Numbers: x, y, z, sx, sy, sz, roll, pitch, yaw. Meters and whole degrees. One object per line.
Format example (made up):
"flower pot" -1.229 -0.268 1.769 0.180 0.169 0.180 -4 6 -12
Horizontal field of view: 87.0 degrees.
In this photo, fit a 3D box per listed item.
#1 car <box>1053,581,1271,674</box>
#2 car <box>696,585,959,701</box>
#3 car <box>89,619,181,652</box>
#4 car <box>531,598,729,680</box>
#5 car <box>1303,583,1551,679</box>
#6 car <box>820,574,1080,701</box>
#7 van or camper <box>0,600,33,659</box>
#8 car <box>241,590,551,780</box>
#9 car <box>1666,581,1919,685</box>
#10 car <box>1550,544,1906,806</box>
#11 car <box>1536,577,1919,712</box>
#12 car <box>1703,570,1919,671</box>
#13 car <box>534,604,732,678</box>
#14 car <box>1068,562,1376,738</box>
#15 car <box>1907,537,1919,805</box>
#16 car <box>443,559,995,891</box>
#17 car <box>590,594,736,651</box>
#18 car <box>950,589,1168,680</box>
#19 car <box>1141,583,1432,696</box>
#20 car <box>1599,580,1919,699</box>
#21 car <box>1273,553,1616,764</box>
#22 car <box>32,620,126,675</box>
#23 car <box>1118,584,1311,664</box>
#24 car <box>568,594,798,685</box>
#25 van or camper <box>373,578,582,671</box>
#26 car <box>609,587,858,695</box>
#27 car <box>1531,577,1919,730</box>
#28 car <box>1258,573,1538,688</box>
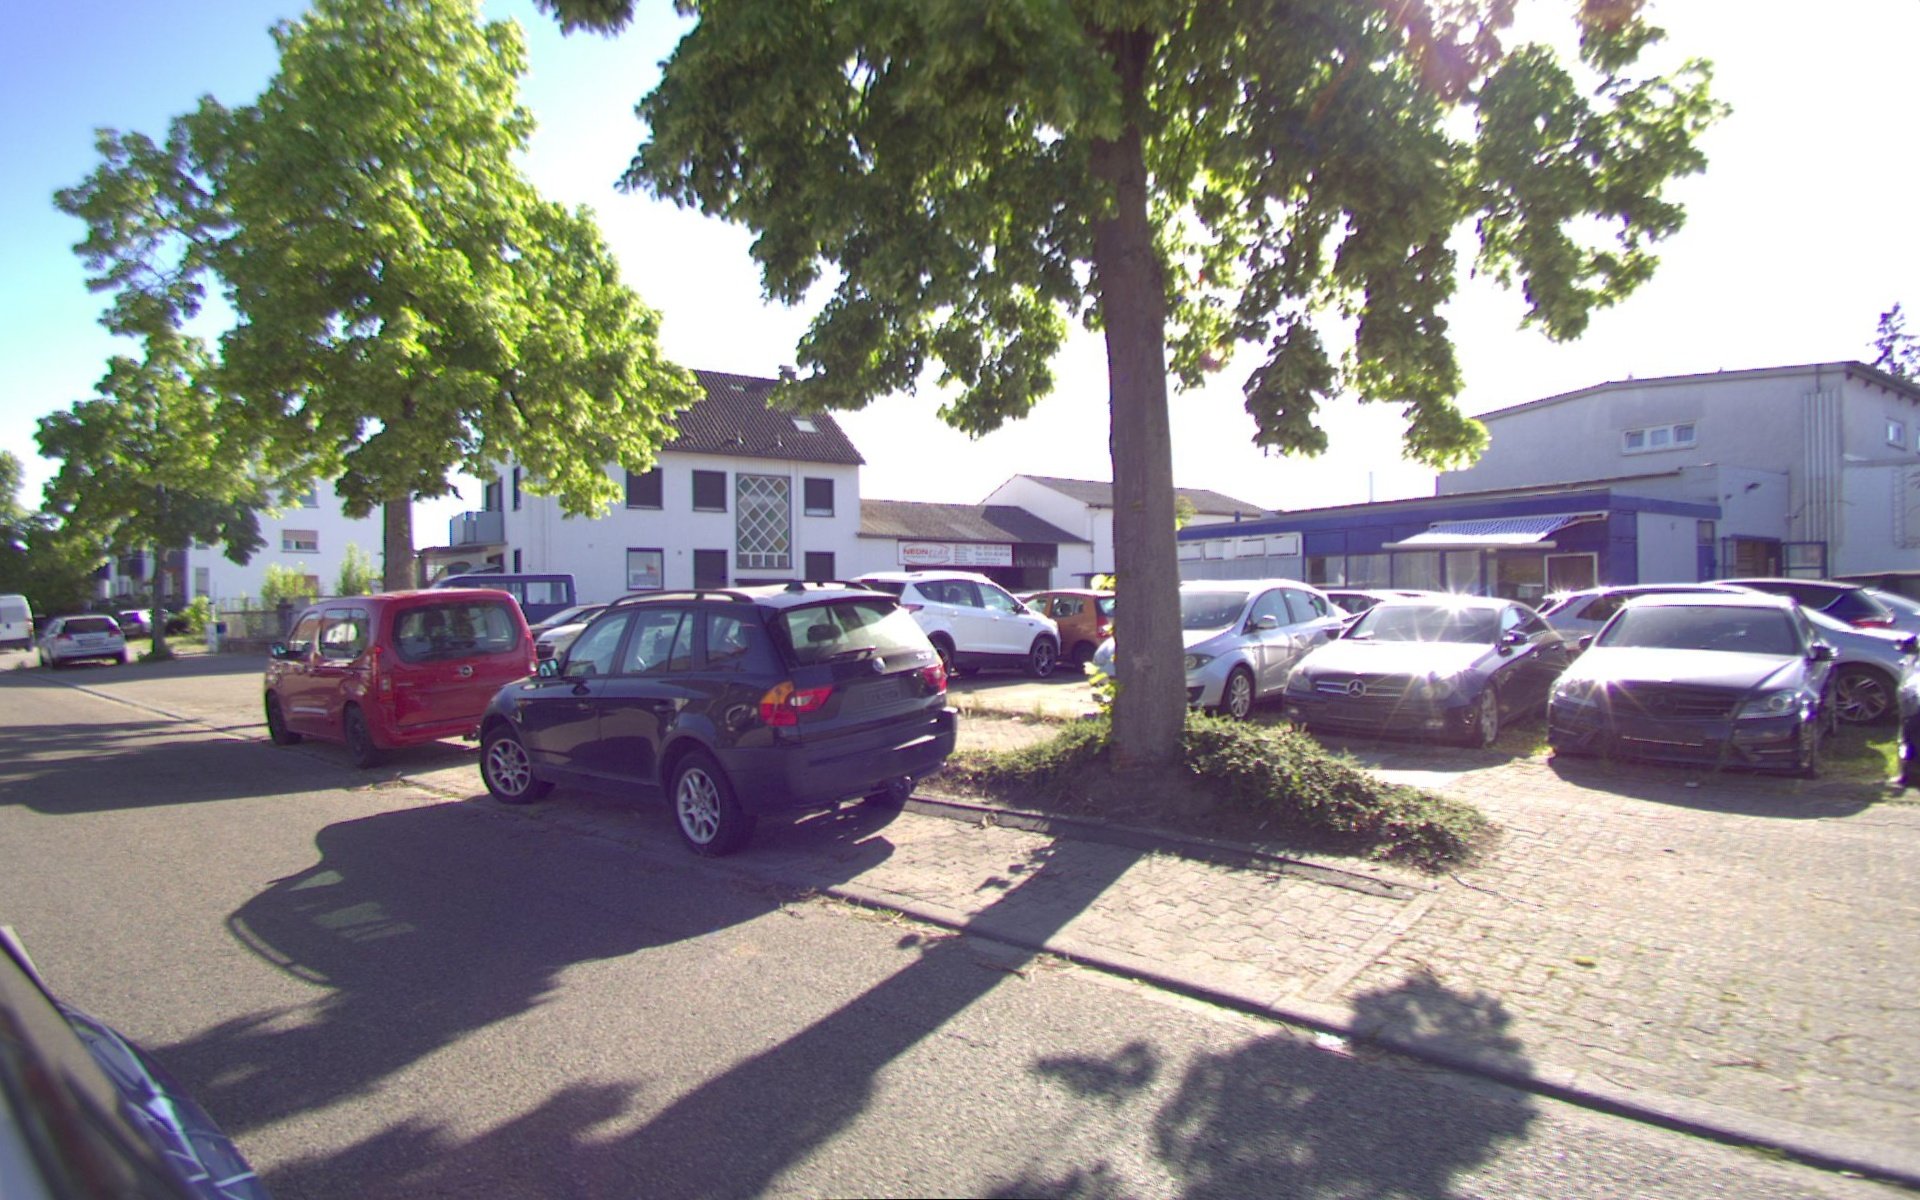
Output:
"car" 3.883 0.510 19.949 1.644 1.631 4.004 -1 -1 -42
"car" -2.157 0.652 17.207 4.198 1.742 1.767 0 -1 -43
"car" -41.886 1.759 51.490 1.589 1.525 4.396 -1 0 -9
"car" -6.971 0.775 21.662 1.547 1.553 3.765 -1 0 41
"car" 8.469 0.532 18.571 1.644 1.576 3.785 -1 -1 -42
"car" -0.032 0.533 16.030 1.765 1.742 4.203 -1 -1 42
"van or camper" -42.847 1.350 44.807 5.553 2.509 2.100 -3 -2 42
"car" -6.674 0.834 11.764 4.340 1.765 1.785 -1 1 42
"car" 14.071 0.498 16.382 1.642 1.528 4.010 -1 0 -35
"car" 6.835 0.511 8.829 4.198 1.742 1.767 0 -1 -43
"car" 10.378 0.544 13.858 1.644 1.576 4.004 -1 -1 -42
"car" 15.870 0.339 17.958 1.642 1.666 4.010 -1 0 -35
"car" -7.832 0.931 24.473 4.198 1.553 1.767 -1 0 -43
"car" 3.280 0.506 12.135 1.766 1.742 4.202 -1 -1 43
"car" 8.335 0.448 7.394 4.198 1.742 1.767 0 -1 -43
"car" -2.048 0.698 7.625 4.553 1.784 1.657 -1 1 41
"car" -9.001 0.646 30.813 3.929 1.591 1.683 0 1 -35
"car" 1.760 0.609 19.030 1.644 1.528 4.004 -1 -1 -42
"car" 4.931 0.560 15.690 1.644 1.528 4.004 -1 -1 -42
"car" 12.081 0.543 15.230 1.644 1.576 3.853 -1 -1 -42
"car" 5.128 0.492 10.435 4.198 1.742 1.767 0 -1 -43
"car" -26.209 1.368 30.075 4.209 1.446 1.668 -2 1 44
"car" 5.385 0.488 21.722 1.644 1.576 3.720 -1 -1 -42
"car" -5.473 0.727 20.408 1.764 1.597 4.206 -2 0 40
"van or camper" -13.132 0.585 27.670 4.827 2.337 2.249 -1 0 -35
"car" -4.067 0.684 18.615 1.766 1.766 4.200 -1 -1 45
"car" 9.108 0.549 11.732 1.644 1.528 4.004 -1 -1 -42
"car" 7.250 0.472 17.056 1.644 1.706 4.004 0 -1 -42
